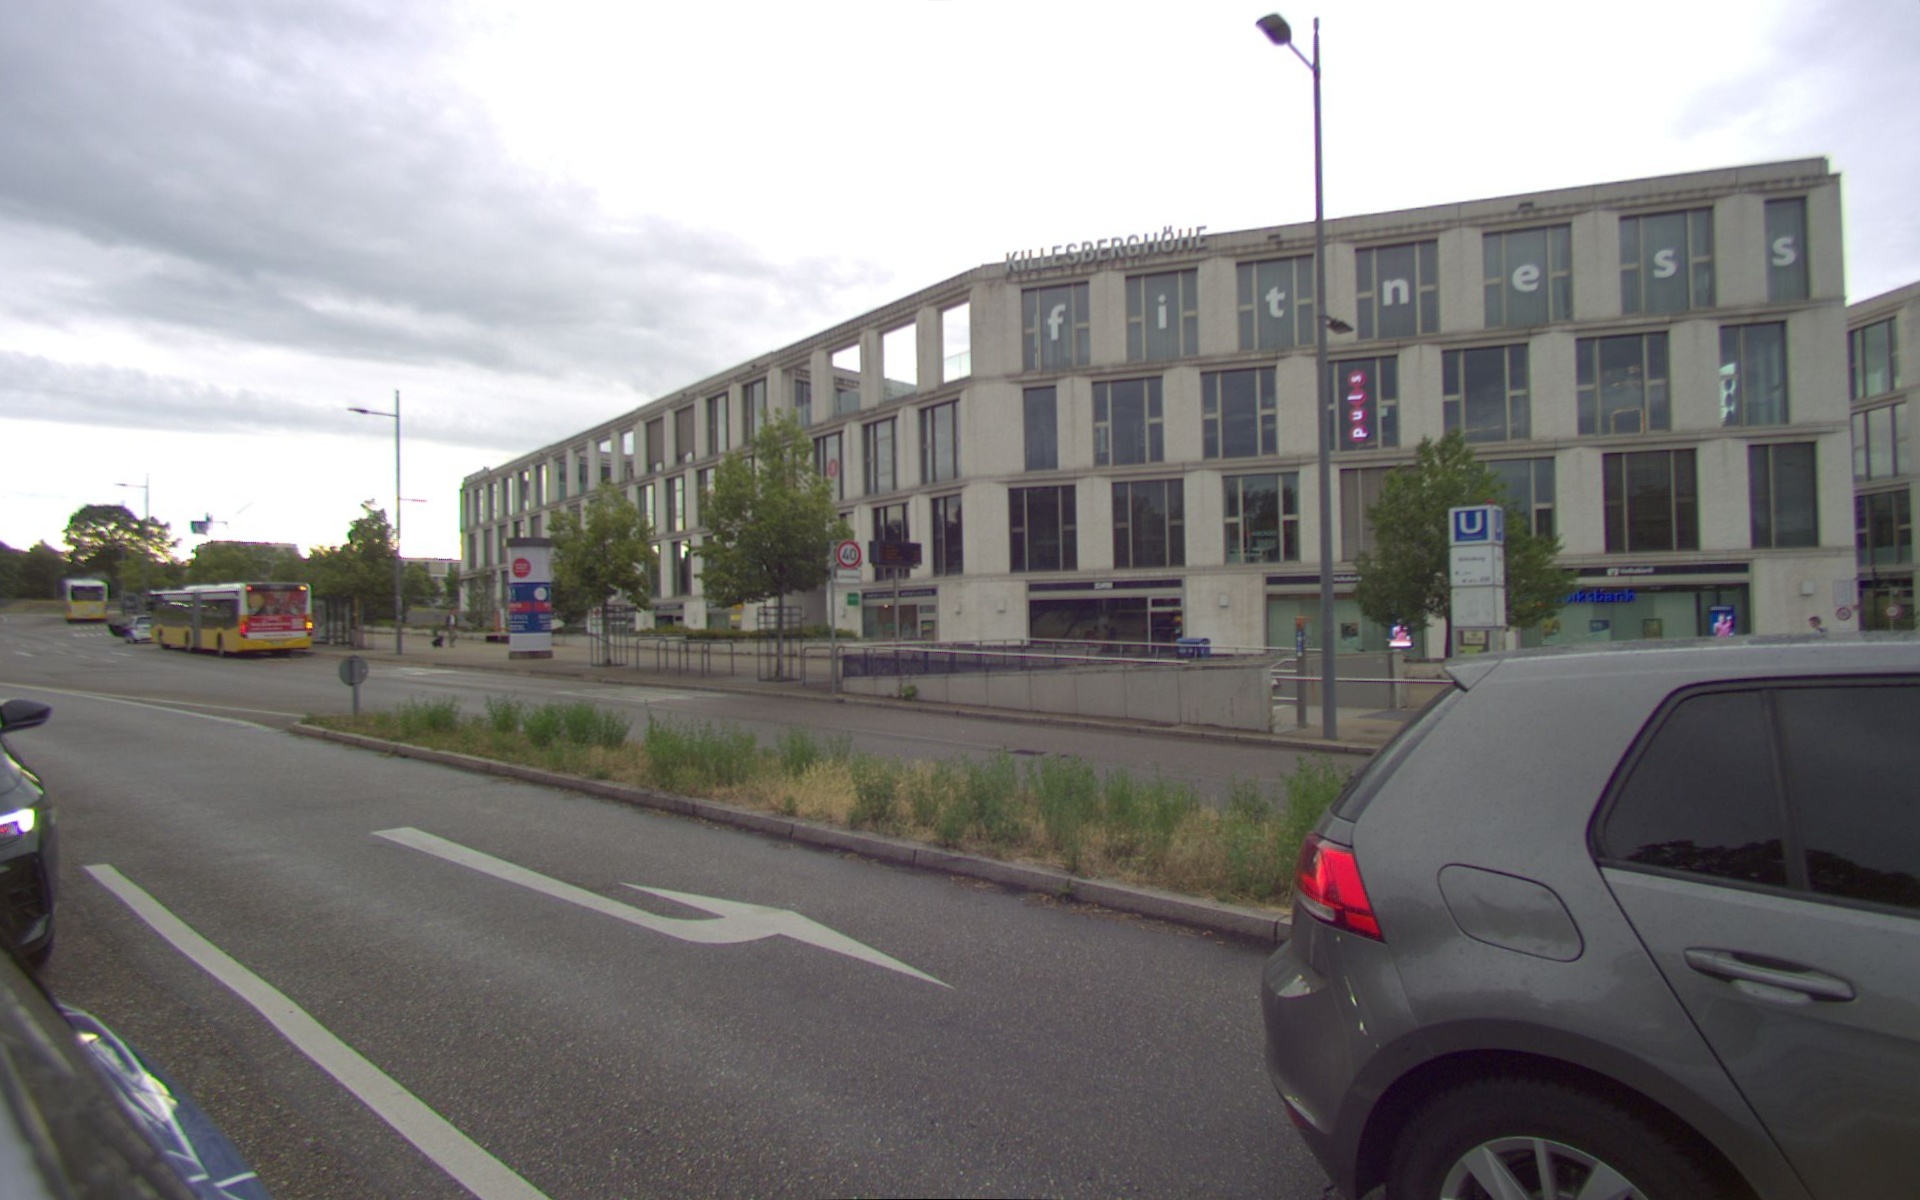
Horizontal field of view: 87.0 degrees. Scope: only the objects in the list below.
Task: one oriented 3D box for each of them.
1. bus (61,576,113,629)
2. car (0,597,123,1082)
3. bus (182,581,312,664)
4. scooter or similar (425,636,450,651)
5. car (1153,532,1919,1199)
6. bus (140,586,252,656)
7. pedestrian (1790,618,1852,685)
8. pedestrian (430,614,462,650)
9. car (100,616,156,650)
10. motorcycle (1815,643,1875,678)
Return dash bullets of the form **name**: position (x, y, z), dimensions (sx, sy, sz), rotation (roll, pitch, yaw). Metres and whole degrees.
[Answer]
- **bus**: position (-76.486, 0.264, 88.934), dimensions (2.717, 4.185, 19.383), rotation (-1, 0, -39)
- **car**: position (-5.144, 0.761, 4.176), dimensions (4.766, 1.476, 1.877), rotation (-1, 0, 41)
- **bus**: position (-31.129, 0.917, 43.981), dimensions (9.206, 3.236, 2.723), rotation (-1, 0, 43)
- **scooter or similar**: position (-23.449, 1.950, 45.440), dimensions (0.827, 0.656, 0.637), rotation (-1, -1, 22)
- **car**: position (2.636, 0.649, 1.410), dimensions (4.376, 1.492, 1.796), rotation (-1, -2, 42)
- **bus**: position (-38.155, 0.986, 50.388), dimensions (9.911, 3.205, 2.658), rotation (-1, 0, 42)
- **pedestrian**: position (21.109, 1.250, 24.834), dimensions (0.907, 1.617, 0.760), rotation (0, -1, 18)
- **pedestrian**: position (-23.161, 1.453, 45.639), dimensions (0.977, 1.593, 0.860), rotation (-1, 0, 23)
- **car**: position (-47.284, 1.833, 57.496), dimensions (3.998, 1.800, 1.843), rotation (-1, 0, 41)
- **motorcycle**: position (20.432, 1.398, 23.388), dimensions (0.517, 0.746, 1.098), rotation (-1, 0, 9)
